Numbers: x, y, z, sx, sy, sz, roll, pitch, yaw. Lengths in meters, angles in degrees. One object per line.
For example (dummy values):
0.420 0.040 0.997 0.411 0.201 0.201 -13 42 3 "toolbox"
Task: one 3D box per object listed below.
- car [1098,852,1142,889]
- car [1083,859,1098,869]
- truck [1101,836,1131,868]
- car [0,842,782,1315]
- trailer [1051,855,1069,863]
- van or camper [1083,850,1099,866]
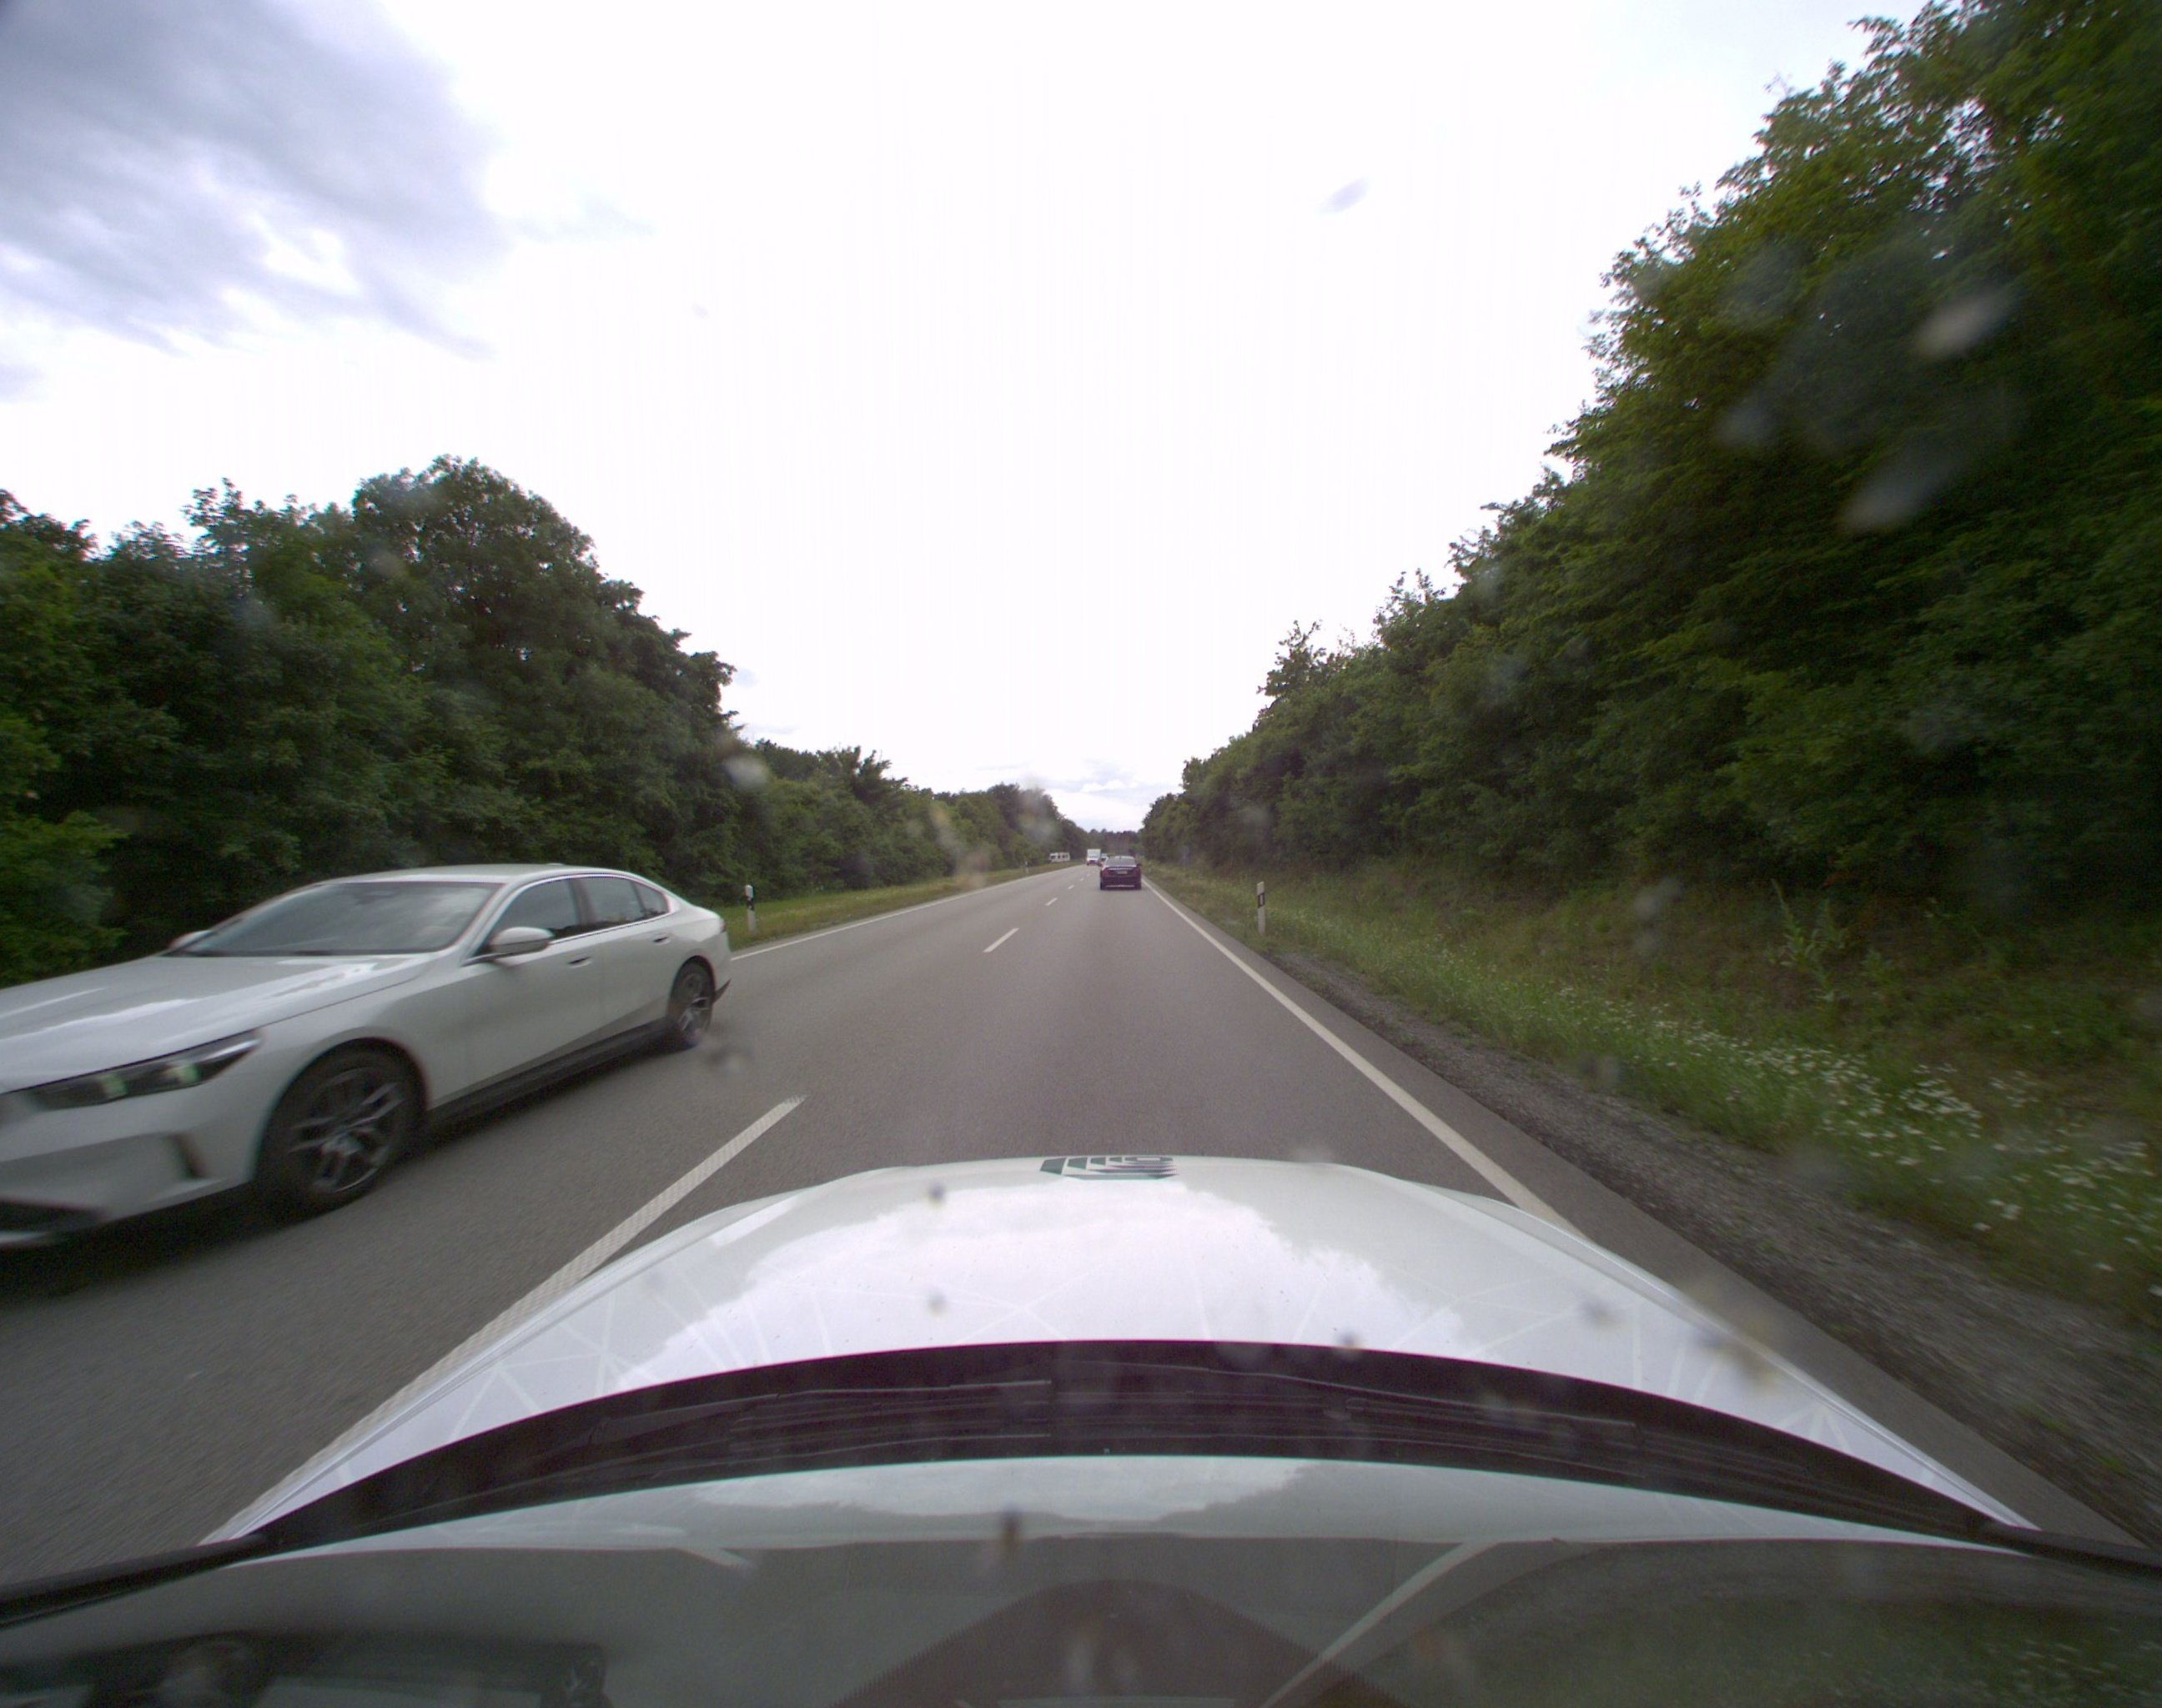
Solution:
1.722 0.723 36.864 1.785 1.552 3.999 0 0 0 "car"
1.488 1.530 127.935 2.270 1.603 4.694 0 0 2 "car"
4.290 -0.237 98.402 3.266 3.611 11.412 0 0 4 "truck"
-4.068 0.768 5.459 1.956 1.574 5.454 0 0 2 "car"
-5.312 1.274 209.363 1.974 2.014 5.155 -1 0 36 "trailer"
1.694 0.658 133.402 2.370 2.575 6.283 0 0 2 "van or camper"
